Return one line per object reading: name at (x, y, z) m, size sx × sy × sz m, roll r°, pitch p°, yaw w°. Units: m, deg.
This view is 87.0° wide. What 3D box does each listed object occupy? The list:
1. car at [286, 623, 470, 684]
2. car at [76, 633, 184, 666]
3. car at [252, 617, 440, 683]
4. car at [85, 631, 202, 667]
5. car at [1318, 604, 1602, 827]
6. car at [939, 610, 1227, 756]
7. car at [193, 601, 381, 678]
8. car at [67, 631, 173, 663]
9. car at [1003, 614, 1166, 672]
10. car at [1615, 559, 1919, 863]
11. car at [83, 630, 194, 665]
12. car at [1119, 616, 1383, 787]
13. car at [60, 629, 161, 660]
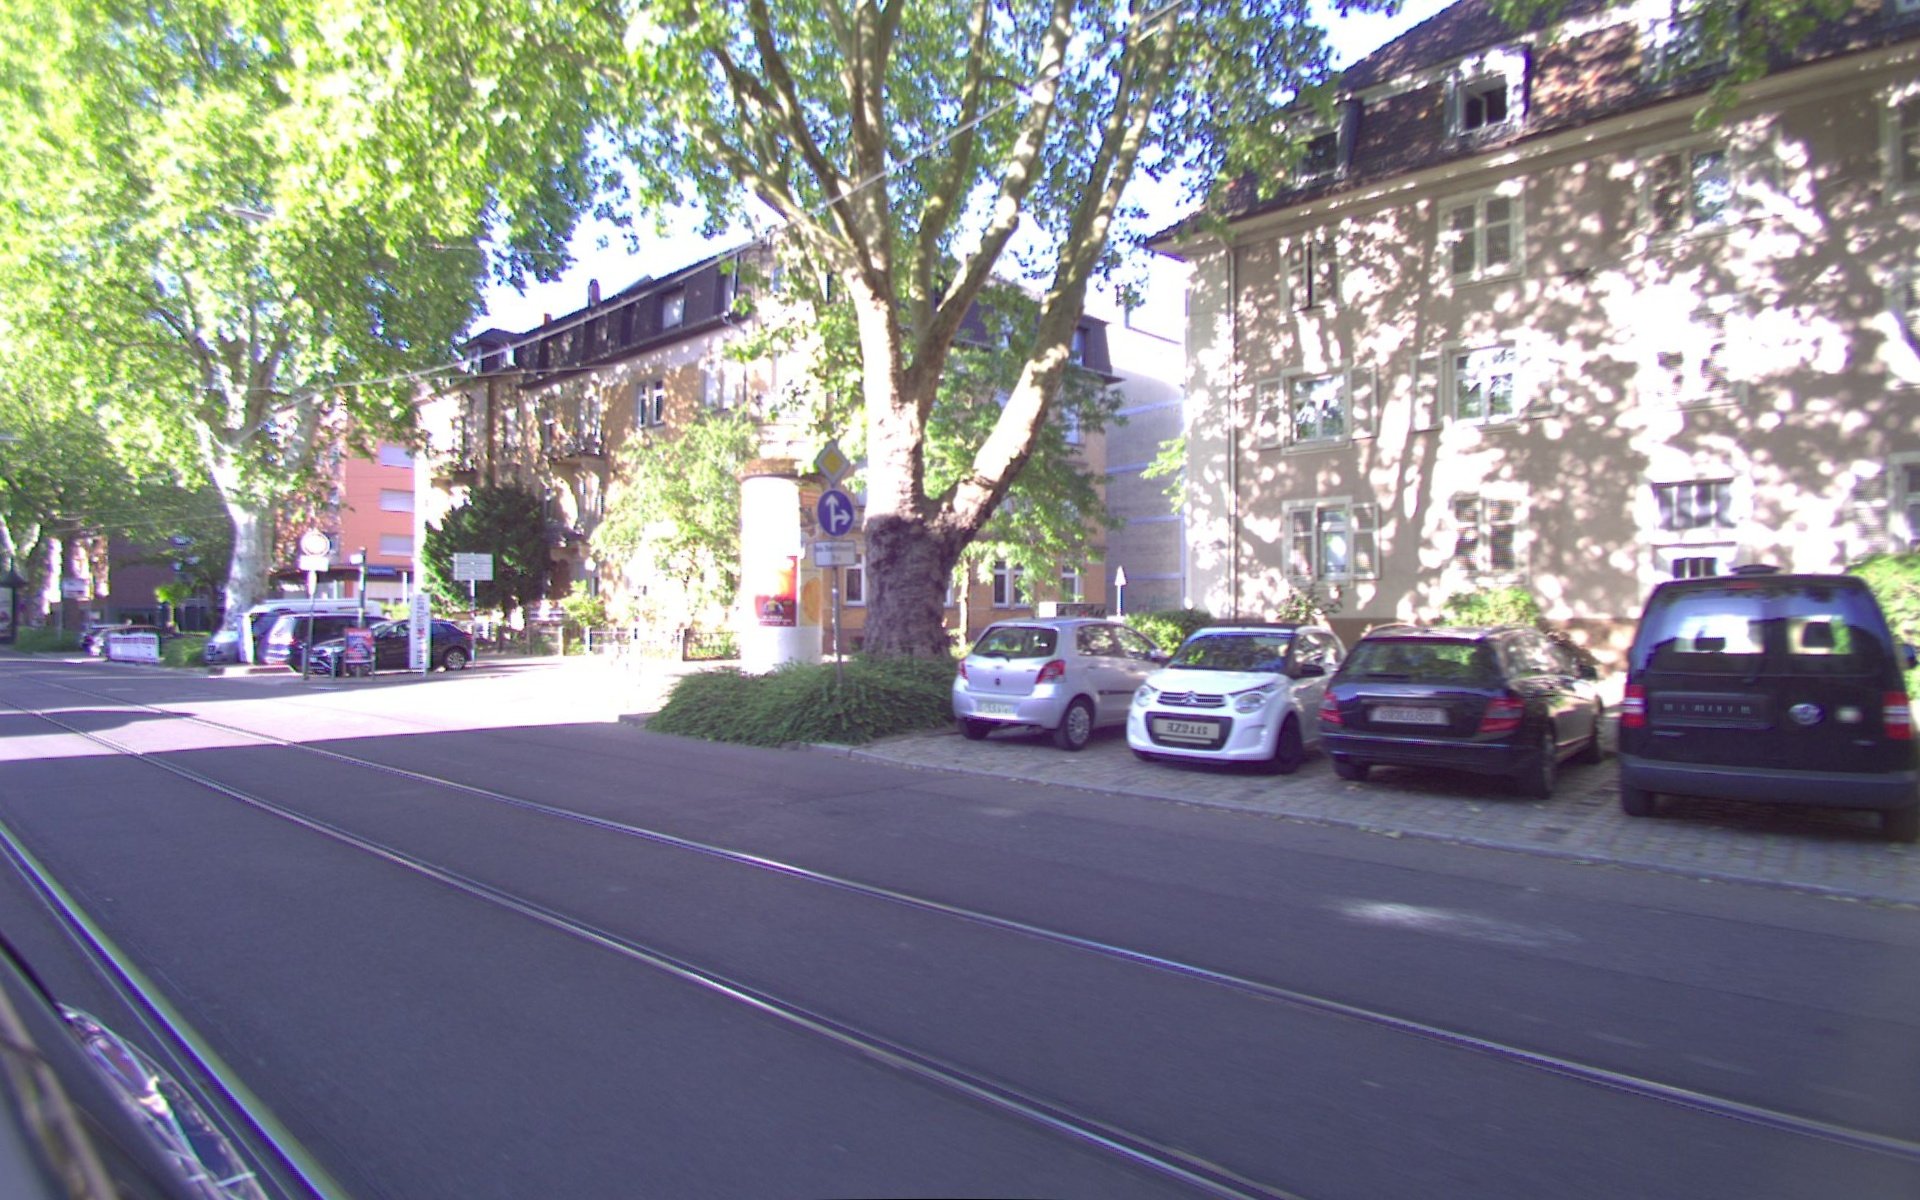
car at (-16.330, 1.455, 28.536) m, size 1.923 × 1.527 × 4.118 m, roll -2°, pitch -2°, yaw 39°
car at (-41.285, 2.439, 50.399) m, size 1.809 × 1.527 × 3.917 m, roll -2°, pitch -2°, yaw 39°
car at (-18.301, 1.444, 30.313) m, size 2.026 × 1.779 × 4.408 m, roll -2°, pitch -2°, yaw 39°
car at (-37.583, 2.227, 46.647) m, size 1.809 × 1.527 × 3.917 m, roll -2°, pitch -2°, yaw 39°
car at (4.819, 0.880, 9.486) m, size 1.796 × 1.636 × 3.649 m, roll -1°, pitch -1°, yaw 36°
car at (1.648, 0.923, 12.835) m, size 3.638 × 1.565 × 1.705 m, roll 0°, pitch -1°, yaw -44°
car at (-22.639, 1.270, 34.222) m, size 2.026 × 2.416 × 4.956 m, roll -2°, pitch -2°, yaw 39°
car at (-43.189, 2.410, 52.096) m, size 1.809 × 1.527 × 3.917 m, roll -2°, pitch -2°, yaw 39°
car at (3.429, 1.170, 28.596) m, size 1.681 × 1.507 × 4.616 m, roll 0°, pitch -1°, yaw -41°
car at (6.444, 0.692, 7.955) m, size 1.703 × 1.828 × 3.644 m, roll -1°, pitch -1°, yaw 40°
car at (-39.780, 2.276, 49.060) m, size 1.809 × 1.527 × 3.917 m, roll -2°, pitch -2°, yaw 39°
car at (3.294, 0.944, 10.999) m, size 1.698 × 1.497 × 3.651 m, roll -1°, pitch -1°, yaw 34°
car at (-45.342, 2.378, 54.071) m, size 1.809 × 1.527 × 3.917 m, roll -2°, pitch -2°, yaw 39°
